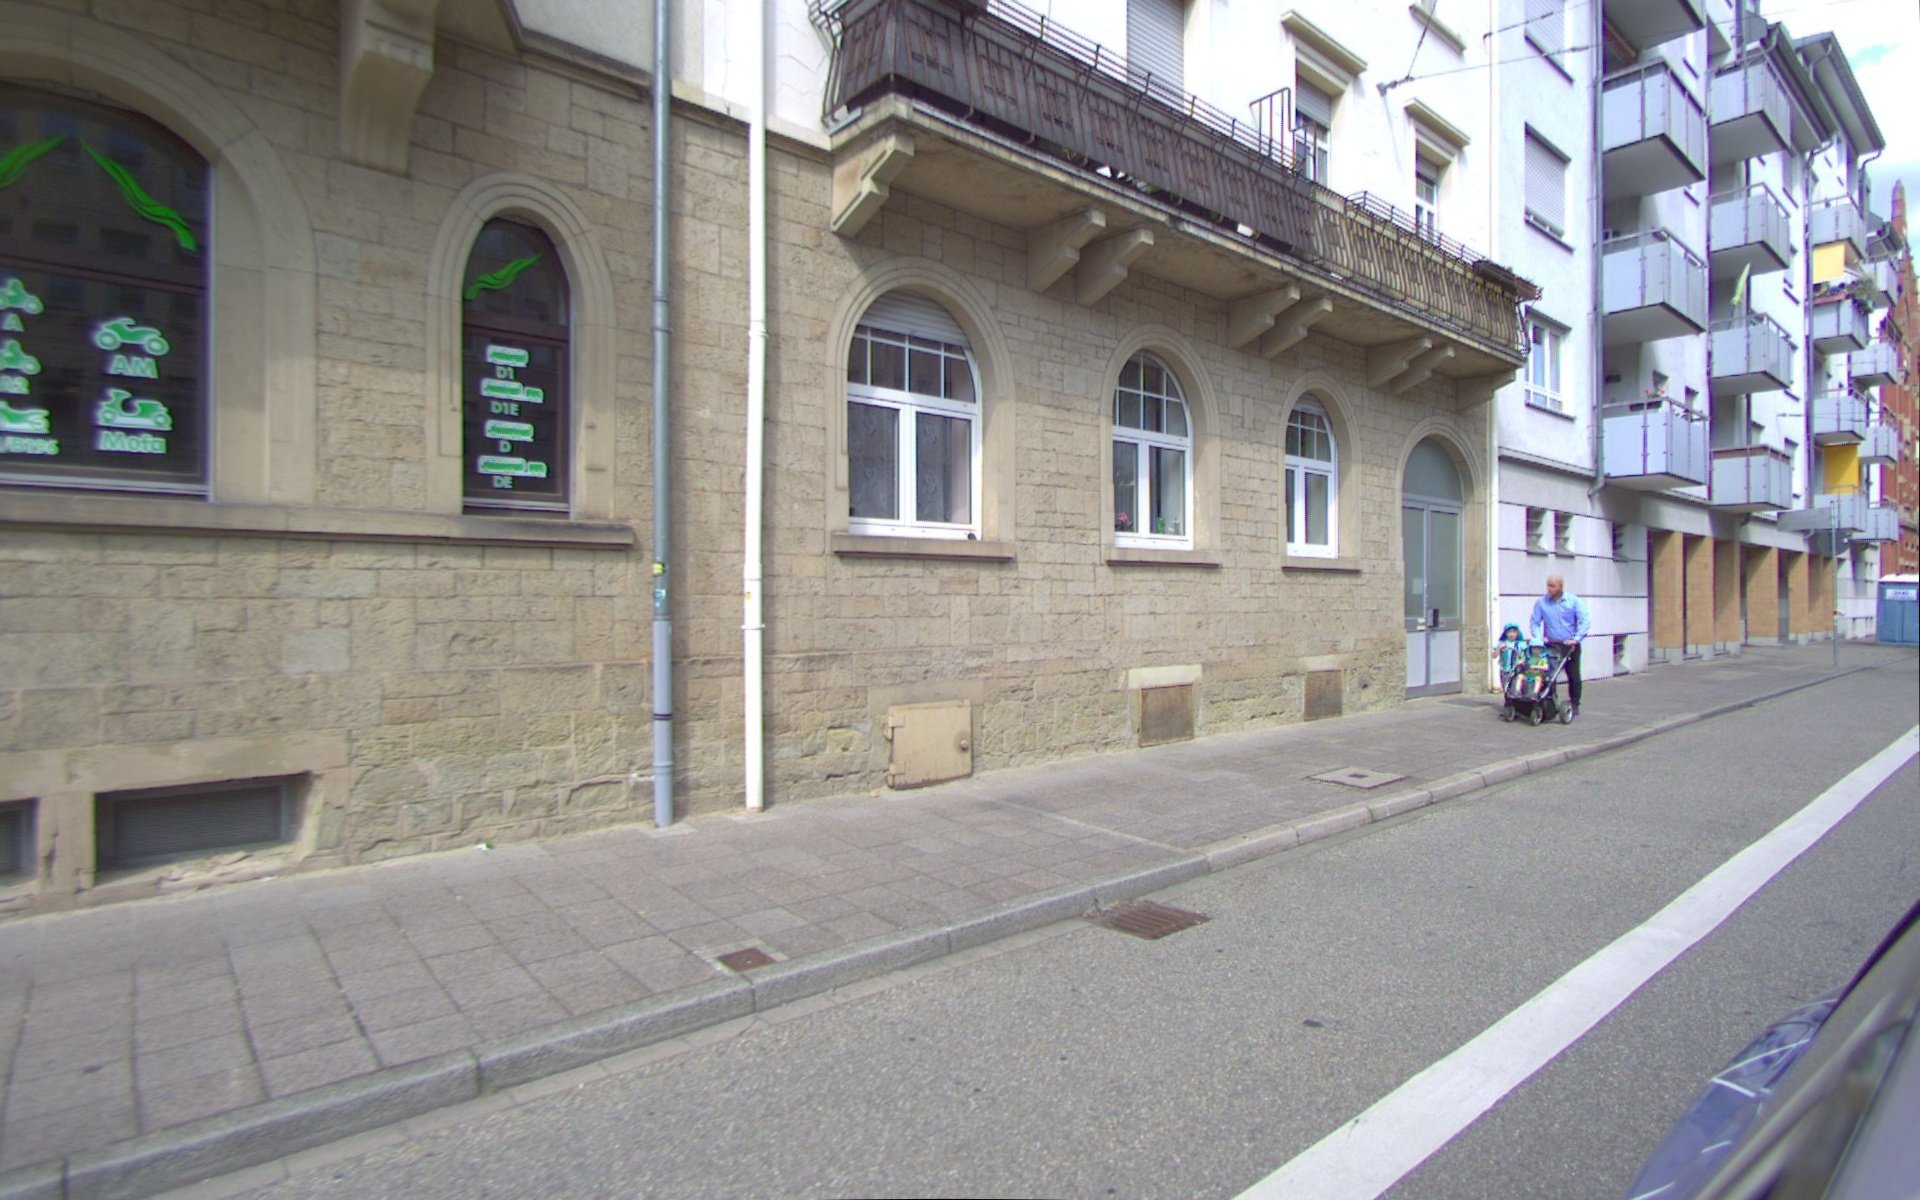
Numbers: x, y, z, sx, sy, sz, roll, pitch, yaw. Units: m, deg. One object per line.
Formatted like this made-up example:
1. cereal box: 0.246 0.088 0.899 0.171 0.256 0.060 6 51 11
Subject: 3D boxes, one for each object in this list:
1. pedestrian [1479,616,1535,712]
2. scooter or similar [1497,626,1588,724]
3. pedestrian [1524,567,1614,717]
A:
1. pedestrian: 6.768 0.778 12.529 0.485 1.149 0.457 0 0 -40
2. scooter or similar: 6.796 0.850 11.799 0.889 1.014 0.594 0 4 -40
3. pedestrian: 7.496 0.488 12.453 0.861 1.760 0.622 0 3 -40
